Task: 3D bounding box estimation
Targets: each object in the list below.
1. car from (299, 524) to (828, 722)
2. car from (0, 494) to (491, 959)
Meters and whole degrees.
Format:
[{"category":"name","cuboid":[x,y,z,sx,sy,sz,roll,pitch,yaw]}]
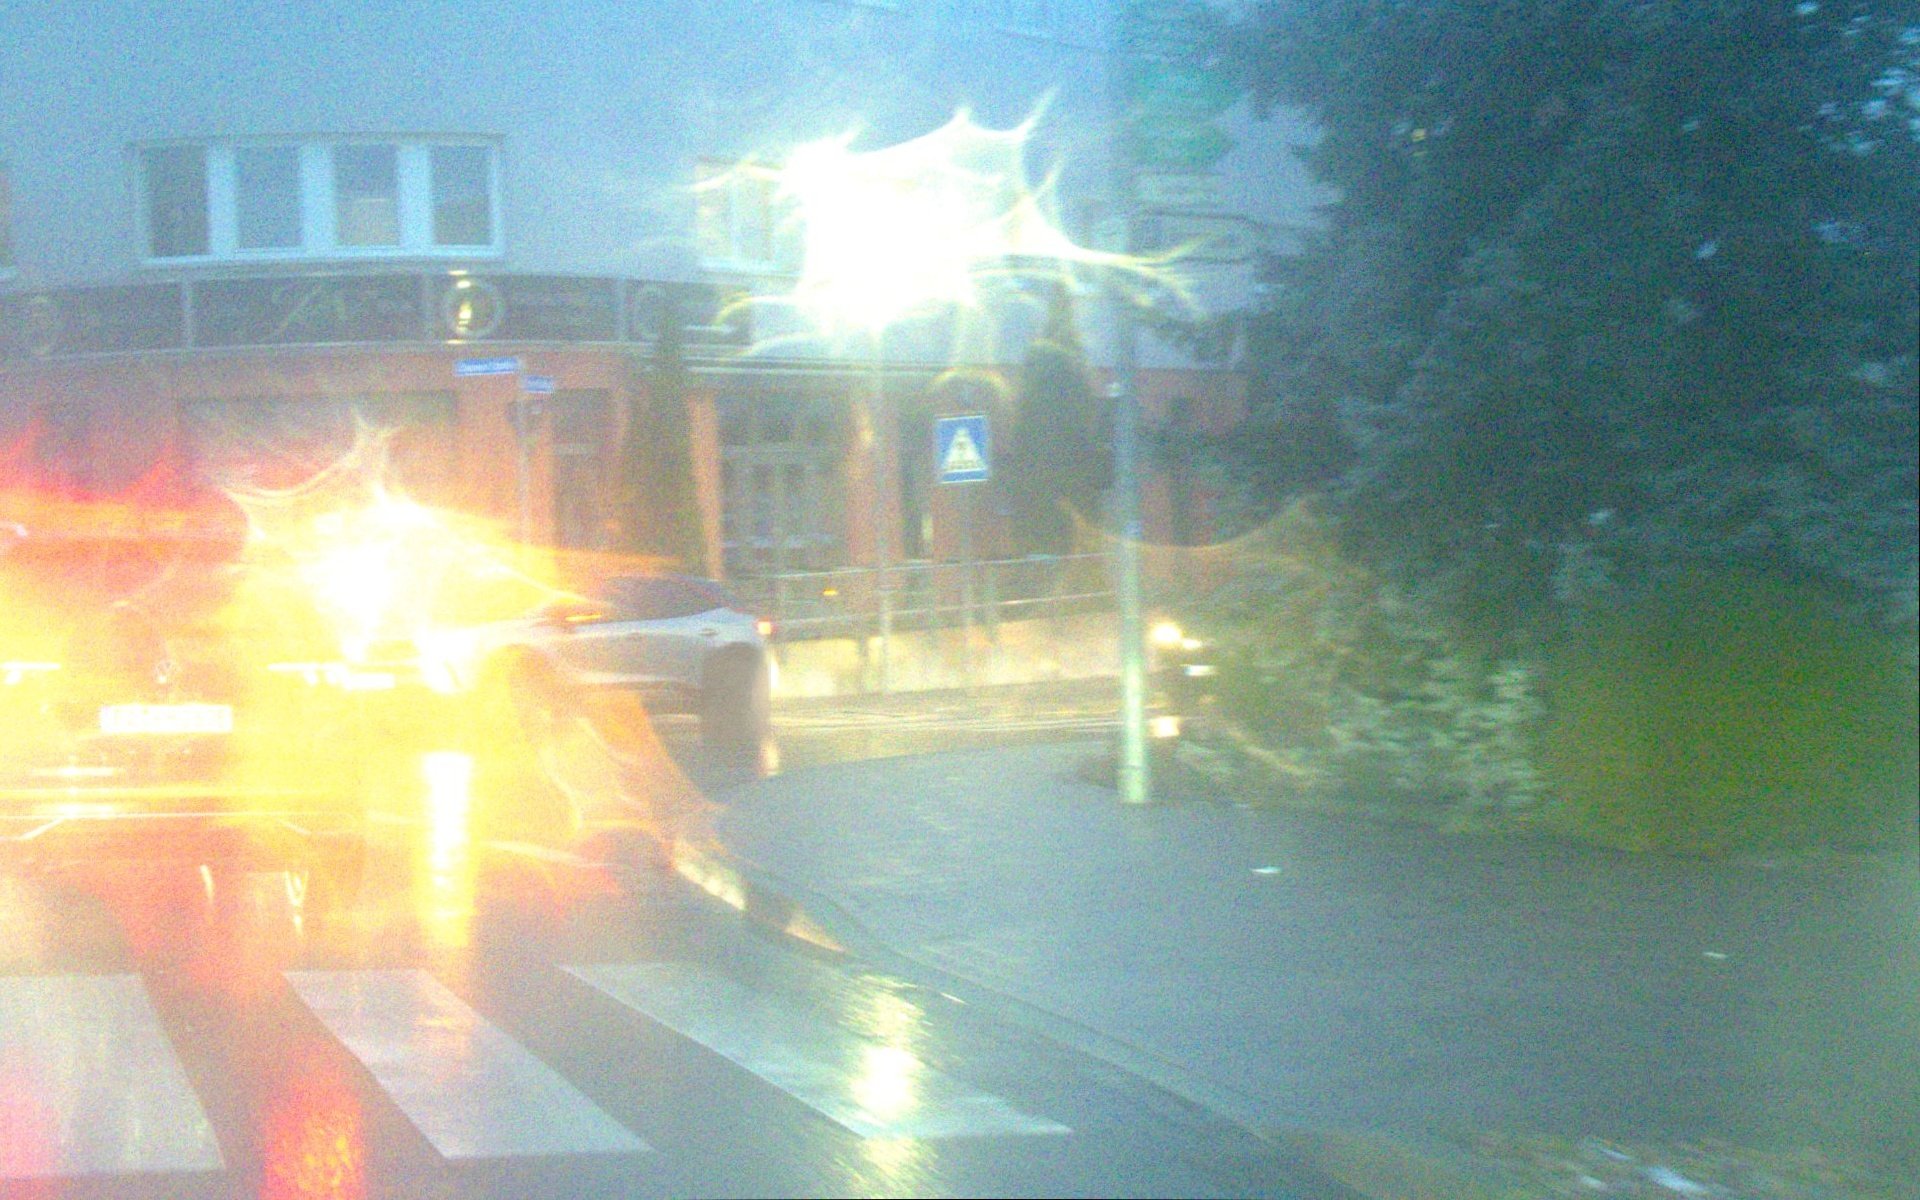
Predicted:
[{"category":"car","cuboid":[-3.465,0.139,30.748,1.907,1.566,4.560,1,3,42]},{"category":"car","cuboid":[-3.260,0.427,15.192,1.944,1.712,4.001,-2,2,-13]}]
